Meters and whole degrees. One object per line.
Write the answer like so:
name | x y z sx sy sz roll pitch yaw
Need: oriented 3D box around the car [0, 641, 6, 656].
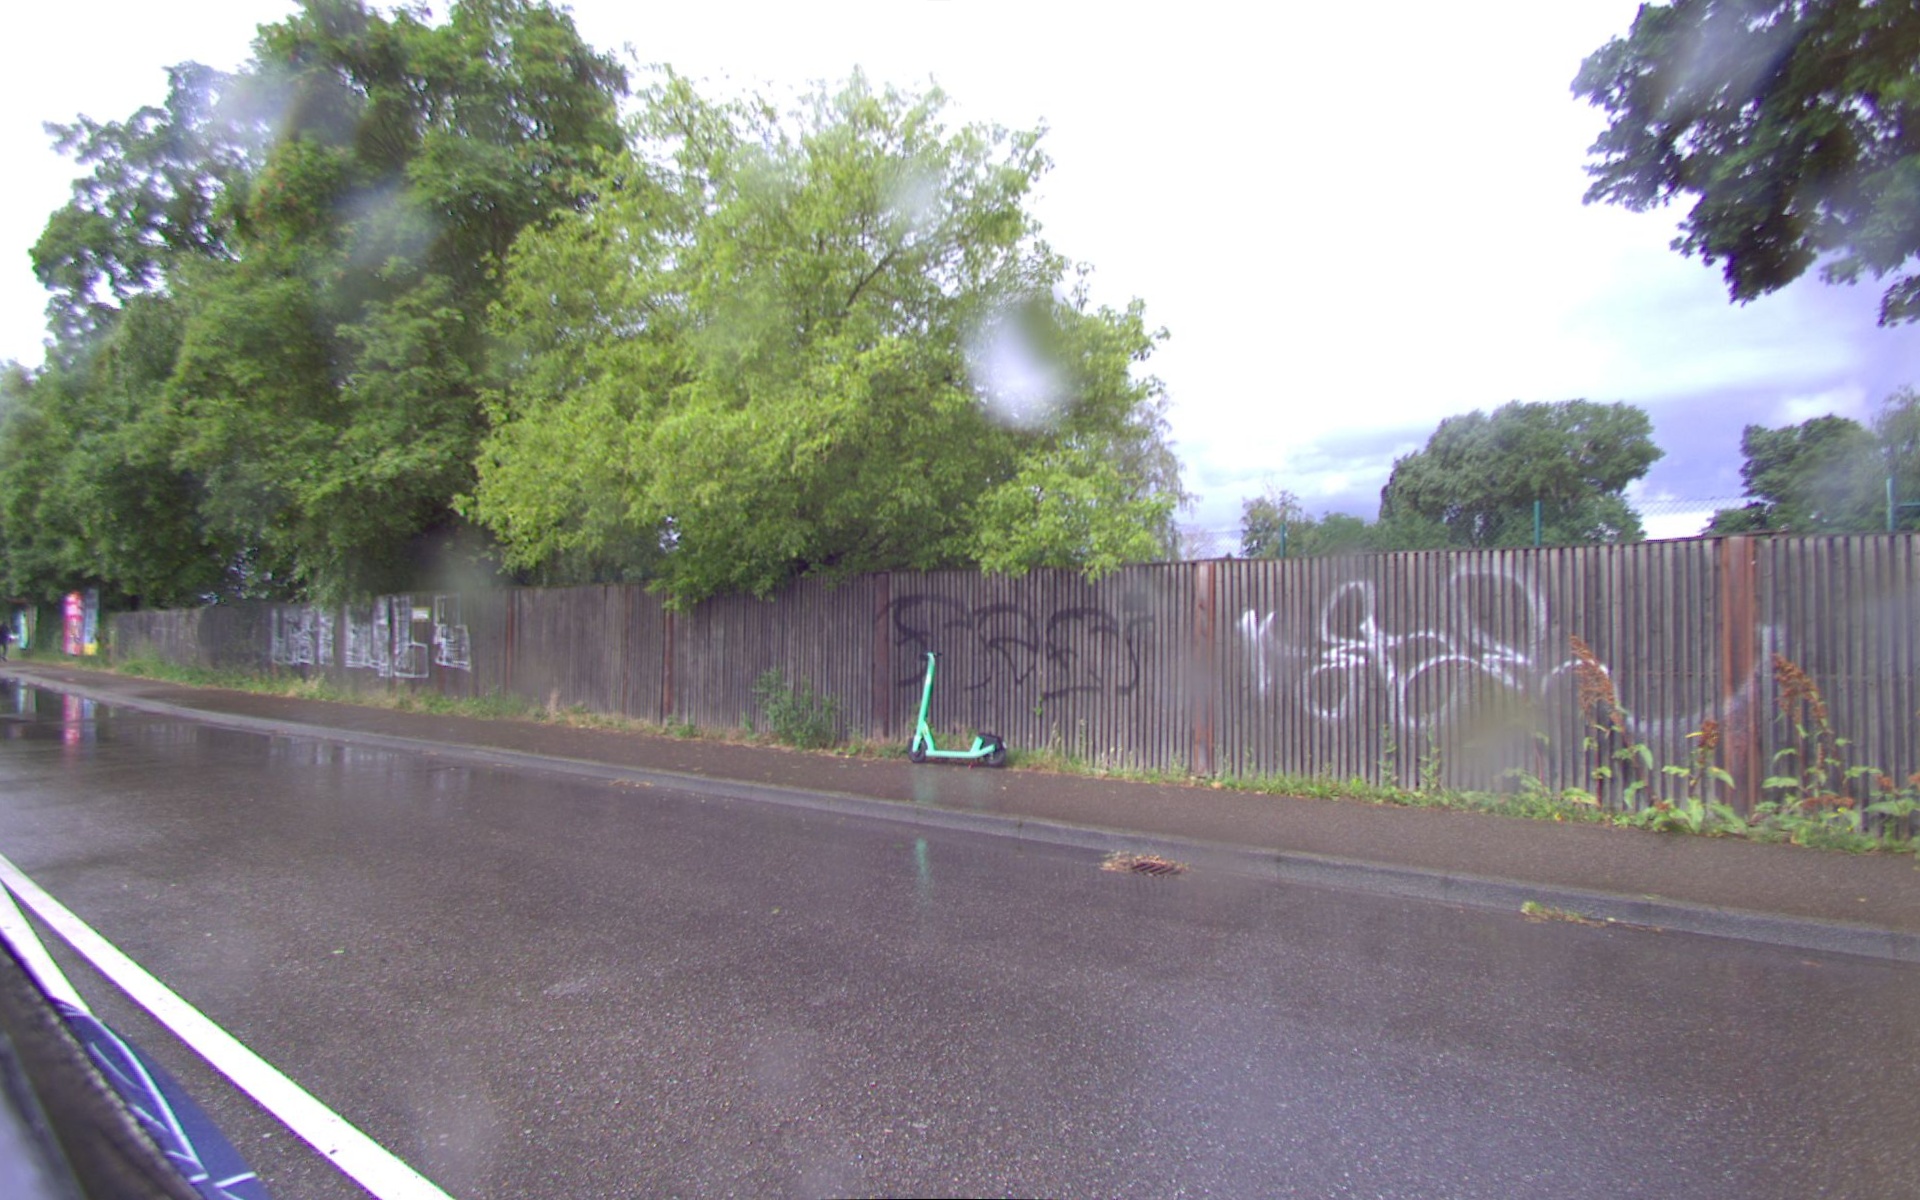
car | -108.510 5.430 113.569 1.770 1.645 3.825 0 -2 -39

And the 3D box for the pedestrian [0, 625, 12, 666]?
pedestrian | -41.902 1.989 44.051 0.644 1.783 0.830 -2 -3 40

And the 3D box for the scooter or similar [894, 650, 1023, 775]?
scooter or similar | -0.024 1.108 10.273 1.205 1.171 0.557 -1 -2 34
